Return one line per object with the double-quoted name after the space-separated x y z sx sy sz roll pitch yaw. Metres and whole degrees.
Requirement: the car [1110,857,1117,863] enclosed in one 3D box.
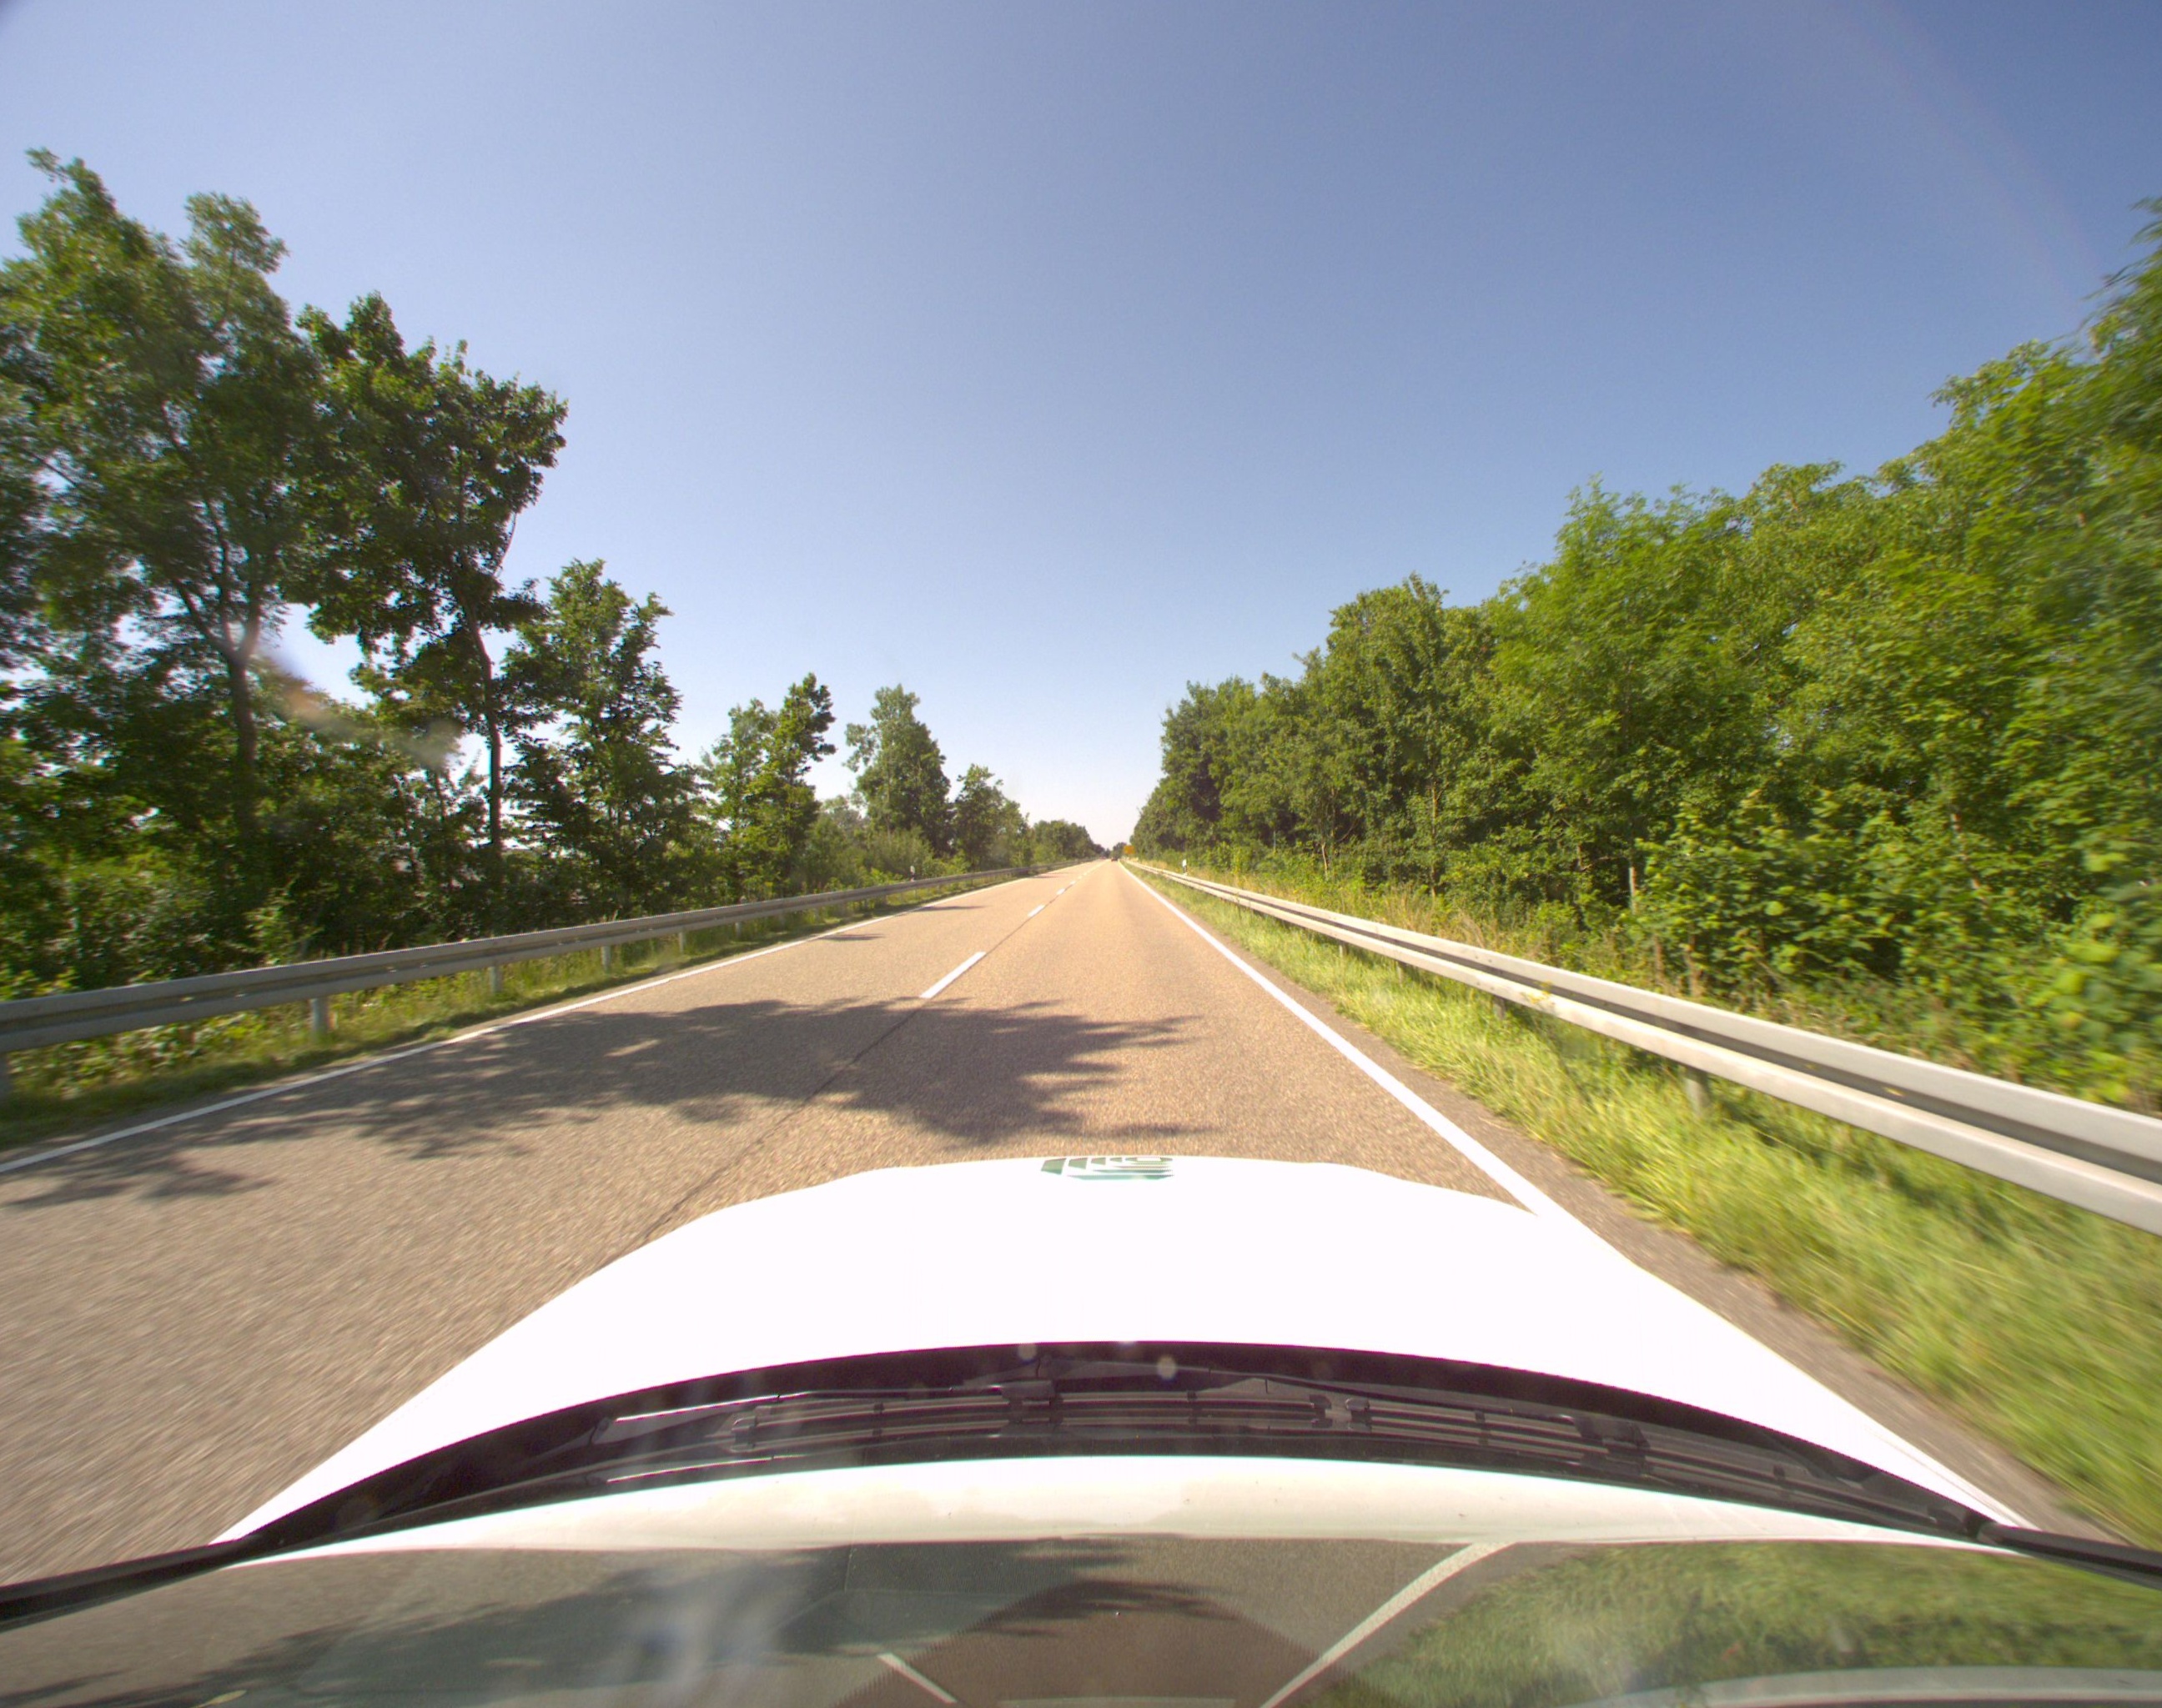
9.048 1.597 225.498 1.734 1.470 3.696 -1 0 3 "car"
